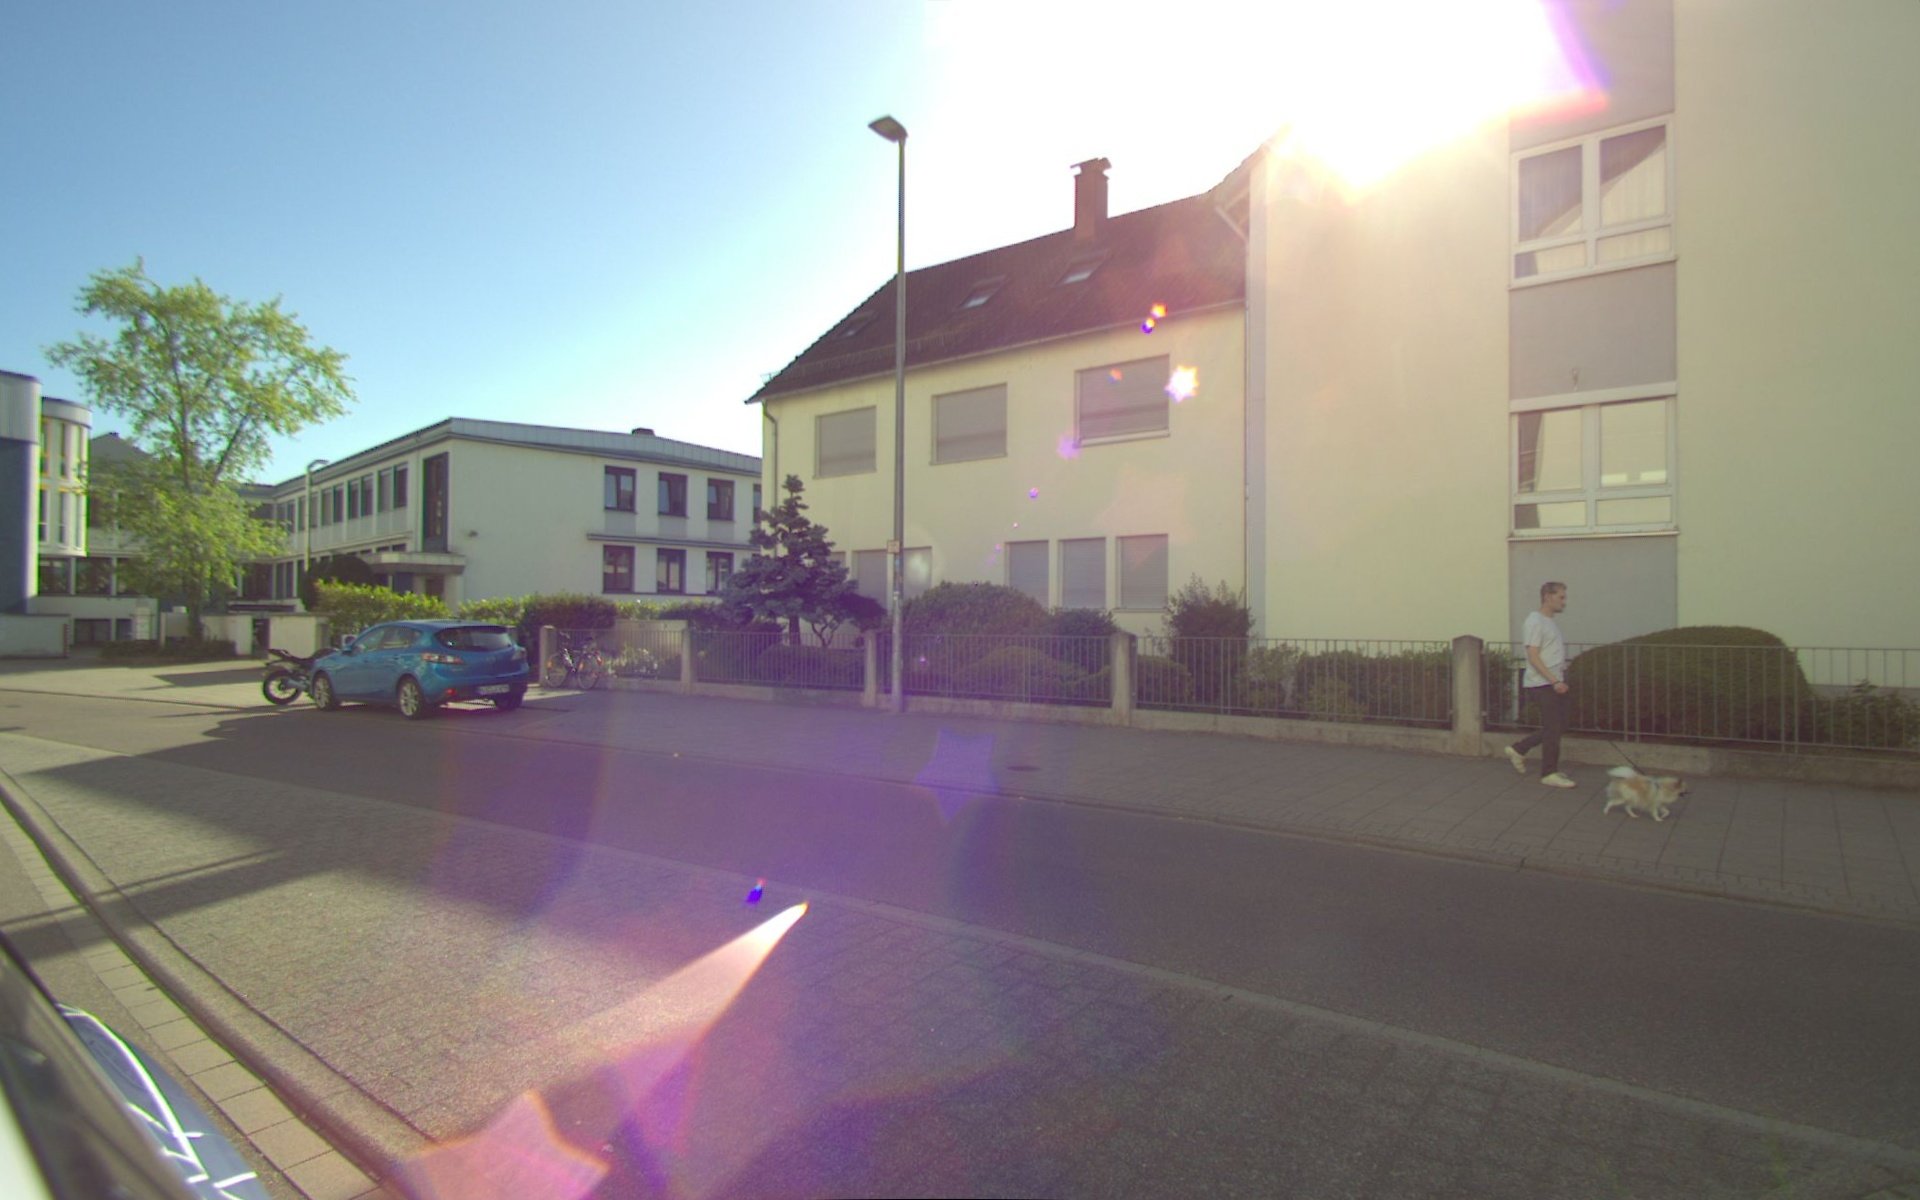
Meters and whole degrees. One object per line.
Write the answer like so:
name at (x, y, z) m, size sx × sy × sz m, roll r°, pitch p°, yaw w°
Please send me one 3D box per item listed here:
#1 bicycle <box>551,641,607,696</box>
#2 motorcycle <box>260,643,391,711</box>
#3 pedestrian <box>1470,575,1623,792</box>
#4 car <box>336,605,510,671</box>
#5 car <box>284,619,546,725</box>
bicycle at (-7.319, 1.304, 19.418) m, size 1.260 × 1.023 × 0.342 m, roll -1°, pitch -3°, yaw 35°
motorcycle at (-11.267, 1.347, 18.049) m, size 1.930 × 1.103 × 0.592 m, roll -1°, pitch -1°, yaw -28°
pedestrian at (4.977, 0.666, 8.598) m, size 0.997 × 1.718 × 0.683 m, roll -1°, pitch -1°, yaw 41°
car at (-15.278, 1.083, 28.936) m, size 1.999 × 1.729 × 3.944 m, roll -1°, pitch -3°, yaw 42°
car at (-8.850, 1.071, 16.328) m, size 4.402 × 1.445 × 1.864 m, roll -1°, pitch 0°, yaw 34°
